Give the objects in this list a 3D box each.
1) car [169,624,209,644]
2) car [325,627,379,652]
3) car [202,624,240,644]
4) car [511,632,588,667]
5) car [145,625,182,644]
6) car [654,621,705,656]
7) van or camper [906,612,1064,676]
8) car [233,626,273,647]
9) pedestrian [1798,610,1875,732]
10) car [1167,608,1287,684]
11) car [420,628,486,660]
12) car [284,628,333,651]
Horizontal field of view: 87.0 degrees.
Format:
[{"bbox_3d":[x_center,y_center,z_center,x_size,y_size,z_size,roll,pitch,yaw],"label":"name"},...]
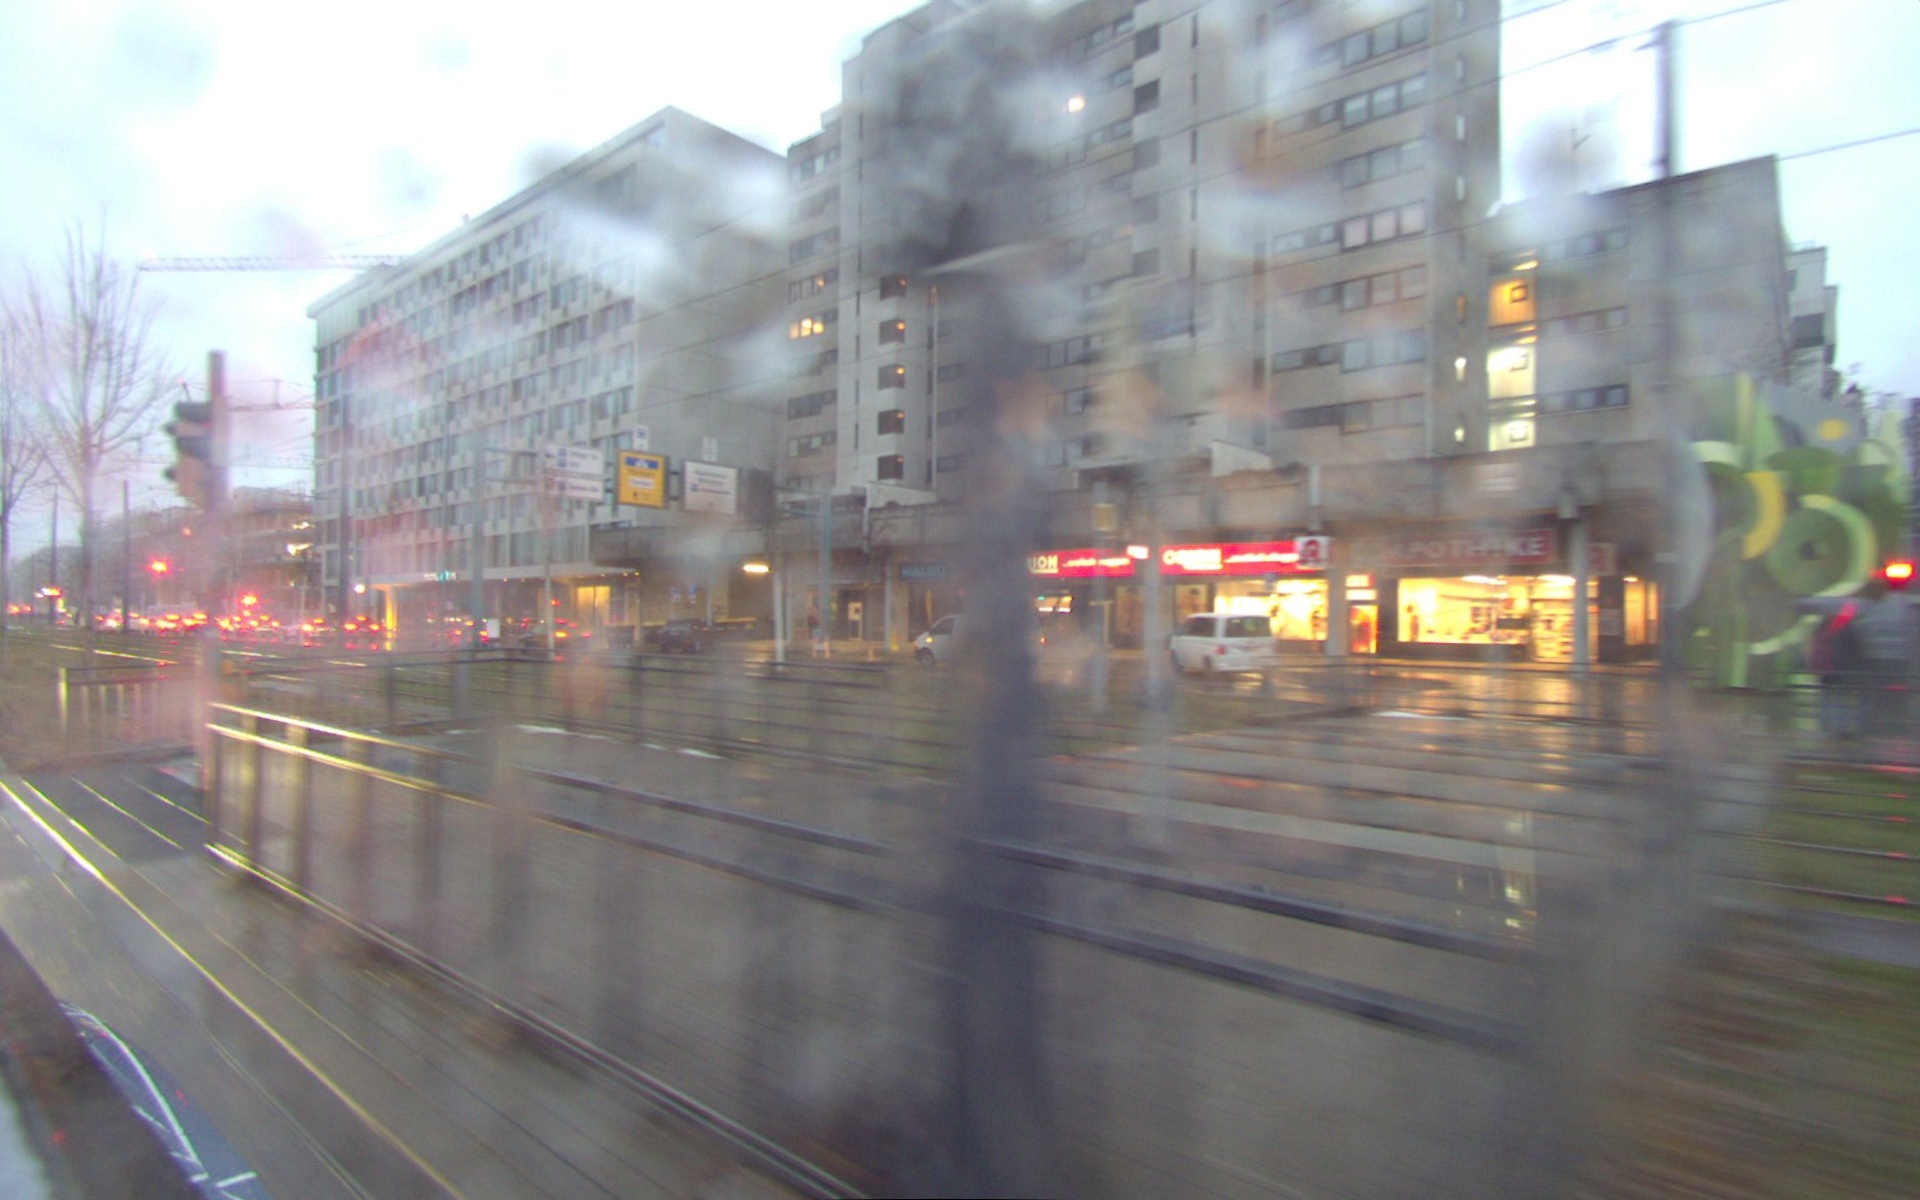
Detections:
[{"bbox_3d":[-58.379,2.532,76.608,3.870,1.460,1.575,0,-1,40],"label":"car"},{"bbox_3d":[-37.902,2.427,63.089,3.870,1.460,1.732,0,-1,40],"label":"car"},{"bbox_3d":[-59.136,2.695,80.999,3.870,1.460,1.575,0,-1,40],"label":"car"},{"bbox_3d":[-18.649,2.229,45.952,3.764,1.460,1.656,0,-1,40],"label":"car"},{"bbox_3d":[-64.393,2.757,81.783,3.870,1.460,1.575,0,-1,40],"label":"car"},{"bbox_3d":[-13.779,1.874,49.880,1.656,1.630,3.781,0,-1,-4],"label":"car"},{"bbox_3d":[0.788,1.503,35.794,5.651,2.113,1.973,-1,-2,41],"label":"van or camper"},{"bbox_3d":[-53.645,2.749,76.774,3.870,1.460,1.575,0,-1,40],"label":"car"},{"bbox_3d":[11.227,0.887,12.985,0.629,1.501,0.783,-1,-2,33],"label":"pedestrian"},{"bbox_3d":[8.008,1.309,30.842,1.969,2.029,4.580,-1,1,-6],"label":"car"},{"bbox_3d":[-26.769,2.290,53.395,3.887,1.523,1.732,0,-1,40],"label":"car"},{"bbox_3d":[-44.337,2.674,68.856,3.870,1.460,1.732,0,-1,40],"label":"car"}]
